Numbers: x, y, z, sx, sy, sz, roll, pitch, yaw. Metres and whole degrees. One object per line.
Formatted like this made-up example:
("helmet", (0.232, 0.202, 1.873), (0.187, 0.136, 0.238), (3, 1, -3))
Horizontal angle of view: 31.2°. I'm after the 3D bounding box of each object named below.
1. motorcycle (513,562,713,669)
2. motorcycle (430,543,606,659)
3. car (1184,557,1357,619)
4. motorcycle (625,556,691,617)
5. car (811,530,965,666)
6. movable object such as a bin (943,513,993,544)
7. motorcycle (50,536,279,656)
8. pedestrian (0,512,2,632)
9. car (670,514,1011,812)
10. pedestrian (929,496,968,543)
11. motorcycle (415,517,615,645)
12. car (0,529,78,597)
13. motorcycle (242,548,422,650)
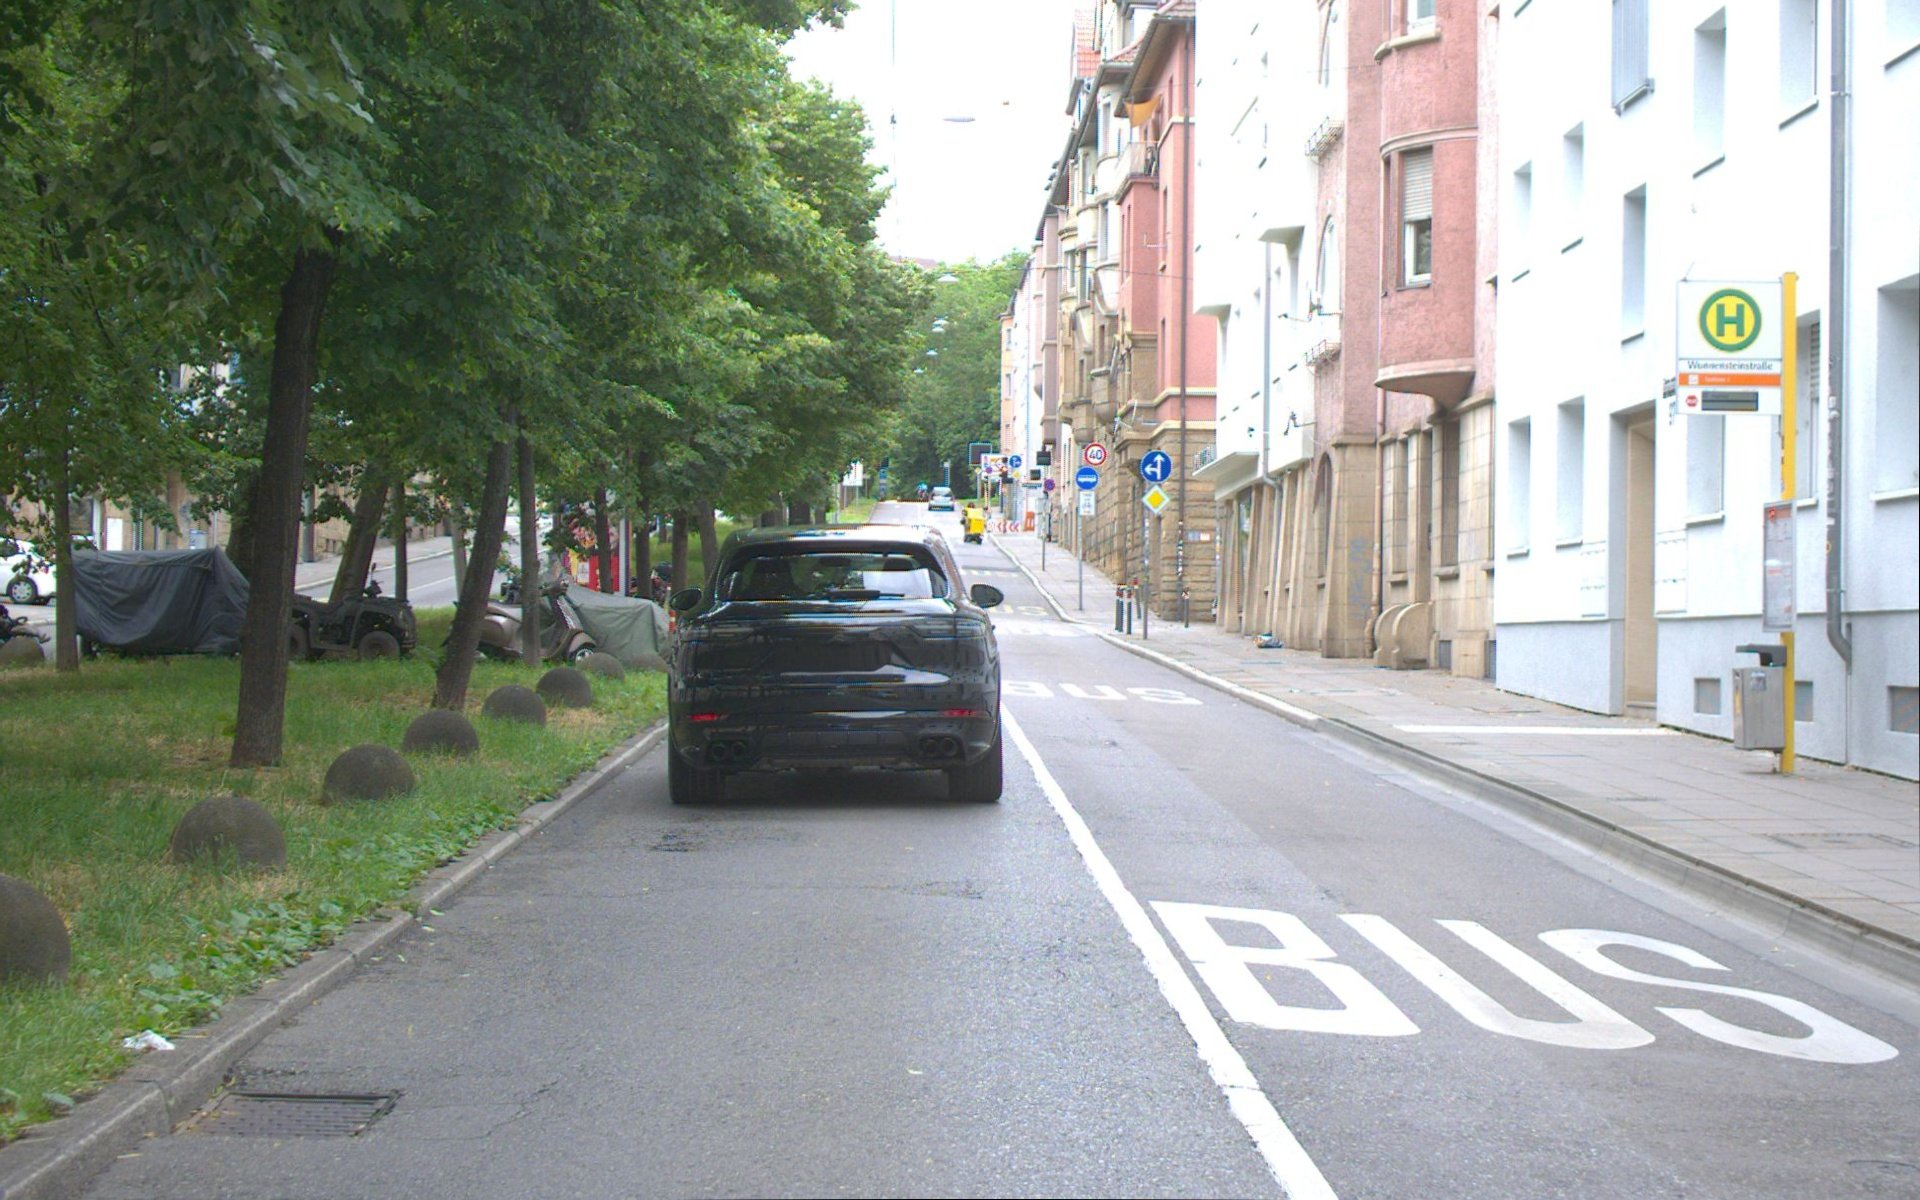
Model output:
("motorcycle", (-4.240, 0.186, 42.138), (2.355, 1.231, 1.034), (1, 2, -2))
("motorcycle", (-5.069, 0.019, 39.514), (1.924, 1.292, 0.893), (1, -1, -2))
("car", (7.027, -0.291, 77.659), (1.998, 1.371, 3.991), (1, 1, 39))
("motorcycle", (-5.850, -0.279, 66.733), (1.062, 1.144, 2.448), (0, 1, 0))
("car", (-0.960, -0.056, 47.223), (1.993, 1.747, 4.000), (1, 1, 0))
("movable object such as a bin", (0.359, -3.051, 146.994), (1.237, 1.270, 1.846), (0, 1, -38))
("motorcycle", (-9.105, -0.055, 39.428), (2.382, 1.312, 1.046), (1, 1, -2))
("pedestrian", (-11.897, -0.263, 41.161), (0.662, 1.610, 0.579), (1, 1, 1))
("car", (-0.763, 0.330, 21.556), (1.903, 1.660, 4.136), (1, 1, -2))
("pedestrian", (-0.513, -3.459, 148.184), (1.301, 2.007, 1.019), (0, 1, -38))
("motorcycle", (-5.222, -0.230, 40.429), (2.194, 1.433, 0.874), (1, 1, 2))
("car", (-22.069, -0.862, 77.277), (3.987, 1.492, 2.000), (1, 1, -1))
("motorcycle", (-7.792, -0.023, 42.718), (2.029, 1.231, 0.896), (1, 1, 5))
